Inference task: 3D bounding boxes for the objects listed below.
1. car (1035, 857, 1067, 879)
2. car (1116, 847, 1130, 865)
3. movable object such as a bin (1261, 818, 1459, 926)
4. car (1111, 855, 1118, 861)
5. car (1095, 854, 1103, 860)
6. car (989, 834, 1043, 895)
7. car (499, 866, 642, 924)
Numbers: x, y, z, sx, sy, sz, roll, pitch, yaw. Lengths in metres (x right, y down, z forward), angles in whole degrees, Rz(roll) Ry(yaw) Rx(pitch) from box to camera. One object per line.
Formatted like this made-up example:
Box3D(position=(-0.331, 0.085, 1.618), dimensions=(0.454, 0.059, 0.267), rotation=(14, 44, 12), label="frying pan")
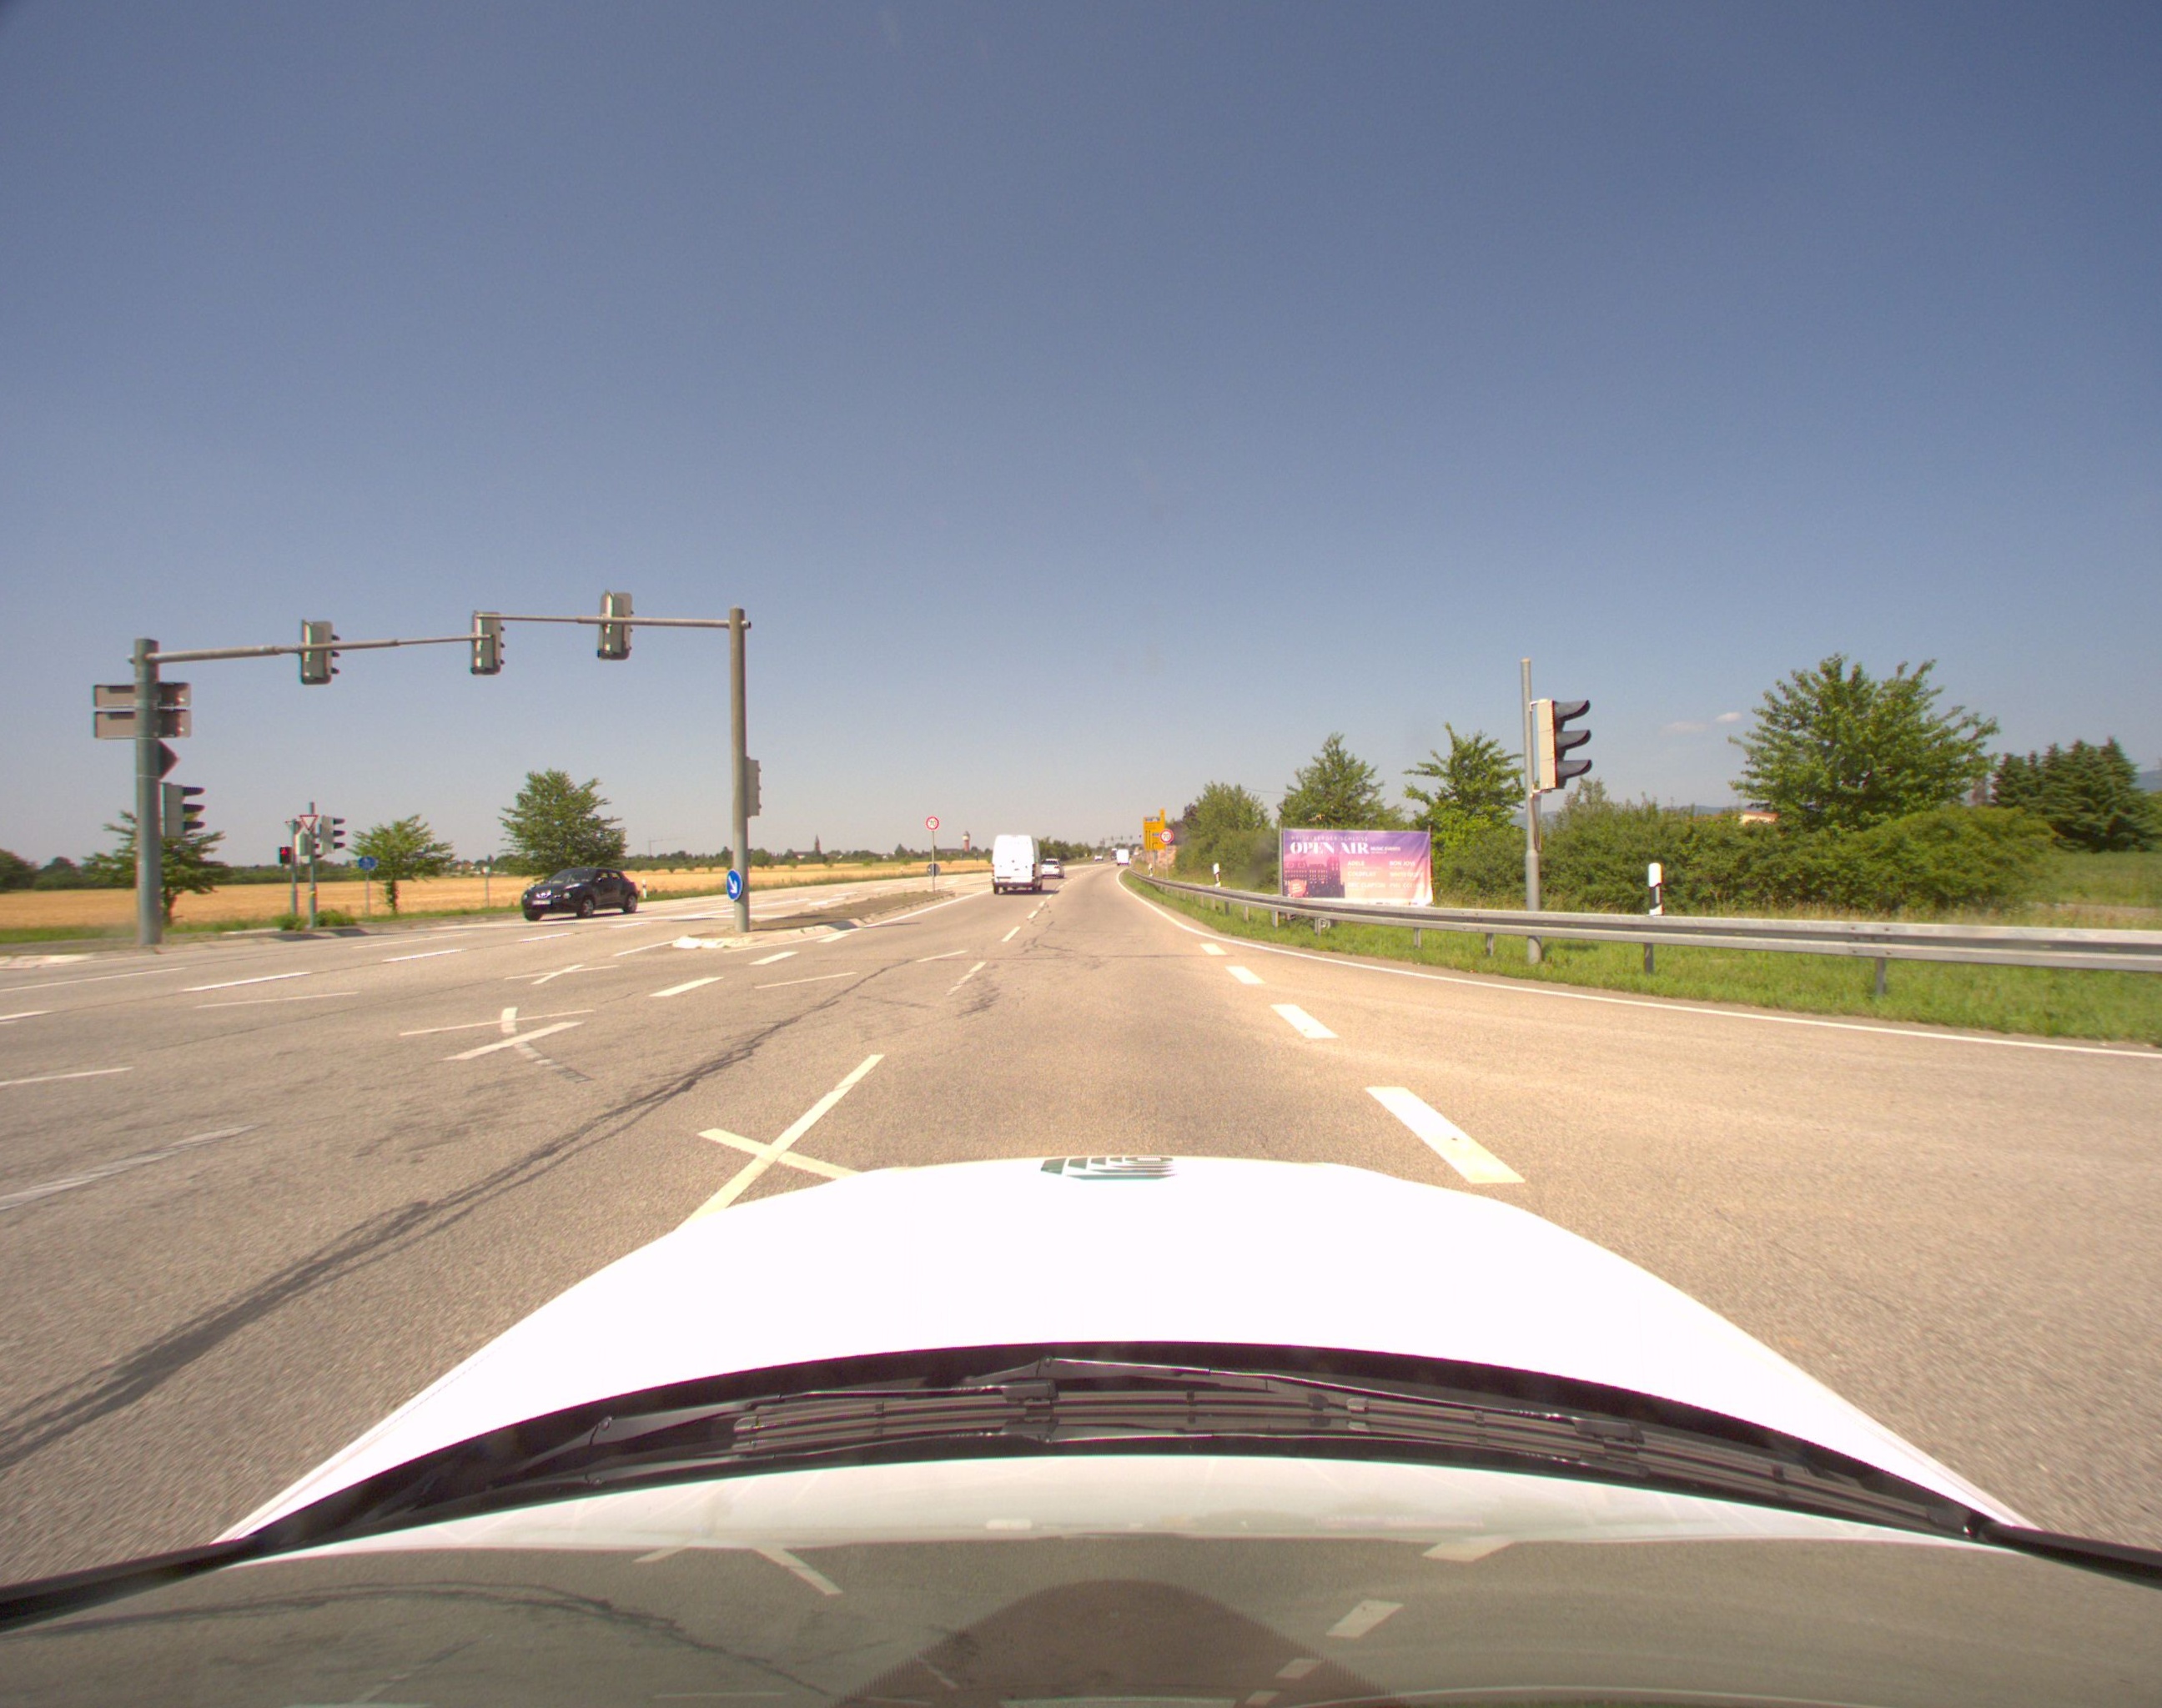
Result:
Box3D(position=(-2.223, 1.013, 61.479), dimensions=(1.790, 1.508, 4.203), rotation=(-1, 1, 6), label="car")
Box3D(position=(6.702, 0.356, 128.723), dimensions=(1.984, 2.695, 4.977), rotation=(0, -1, 6), label="car")
Box3D(position=(6.256, 0.410, 18.484), dimensions=(4.083, 2.331, 1.276), rotation=(0, -1, -3), label="movable object such as a bin")
Box3D(position=(8.908, 1.022, 216.656), dimensions=(1.740, 1.442, 4.088), rotation=(-2, 0, 5), label="car")
Box3D(position=(4.701, 0.730, 210.201), dimensions=(1.740, 1.442, 4.088), rotation=(-2, 0, 5), label="car")
Box3D(position=(-2.960, 0.448, 38.377), dimensions=(2.032, 2.620, 5.741), rotation=(1, 0, 0), label="car")
Box3D(position=(-15.764, 1.195, 25.457), dimensions=(1.825, 1.600, 4.302), rotation=(-2, -1, -2), label="car")
